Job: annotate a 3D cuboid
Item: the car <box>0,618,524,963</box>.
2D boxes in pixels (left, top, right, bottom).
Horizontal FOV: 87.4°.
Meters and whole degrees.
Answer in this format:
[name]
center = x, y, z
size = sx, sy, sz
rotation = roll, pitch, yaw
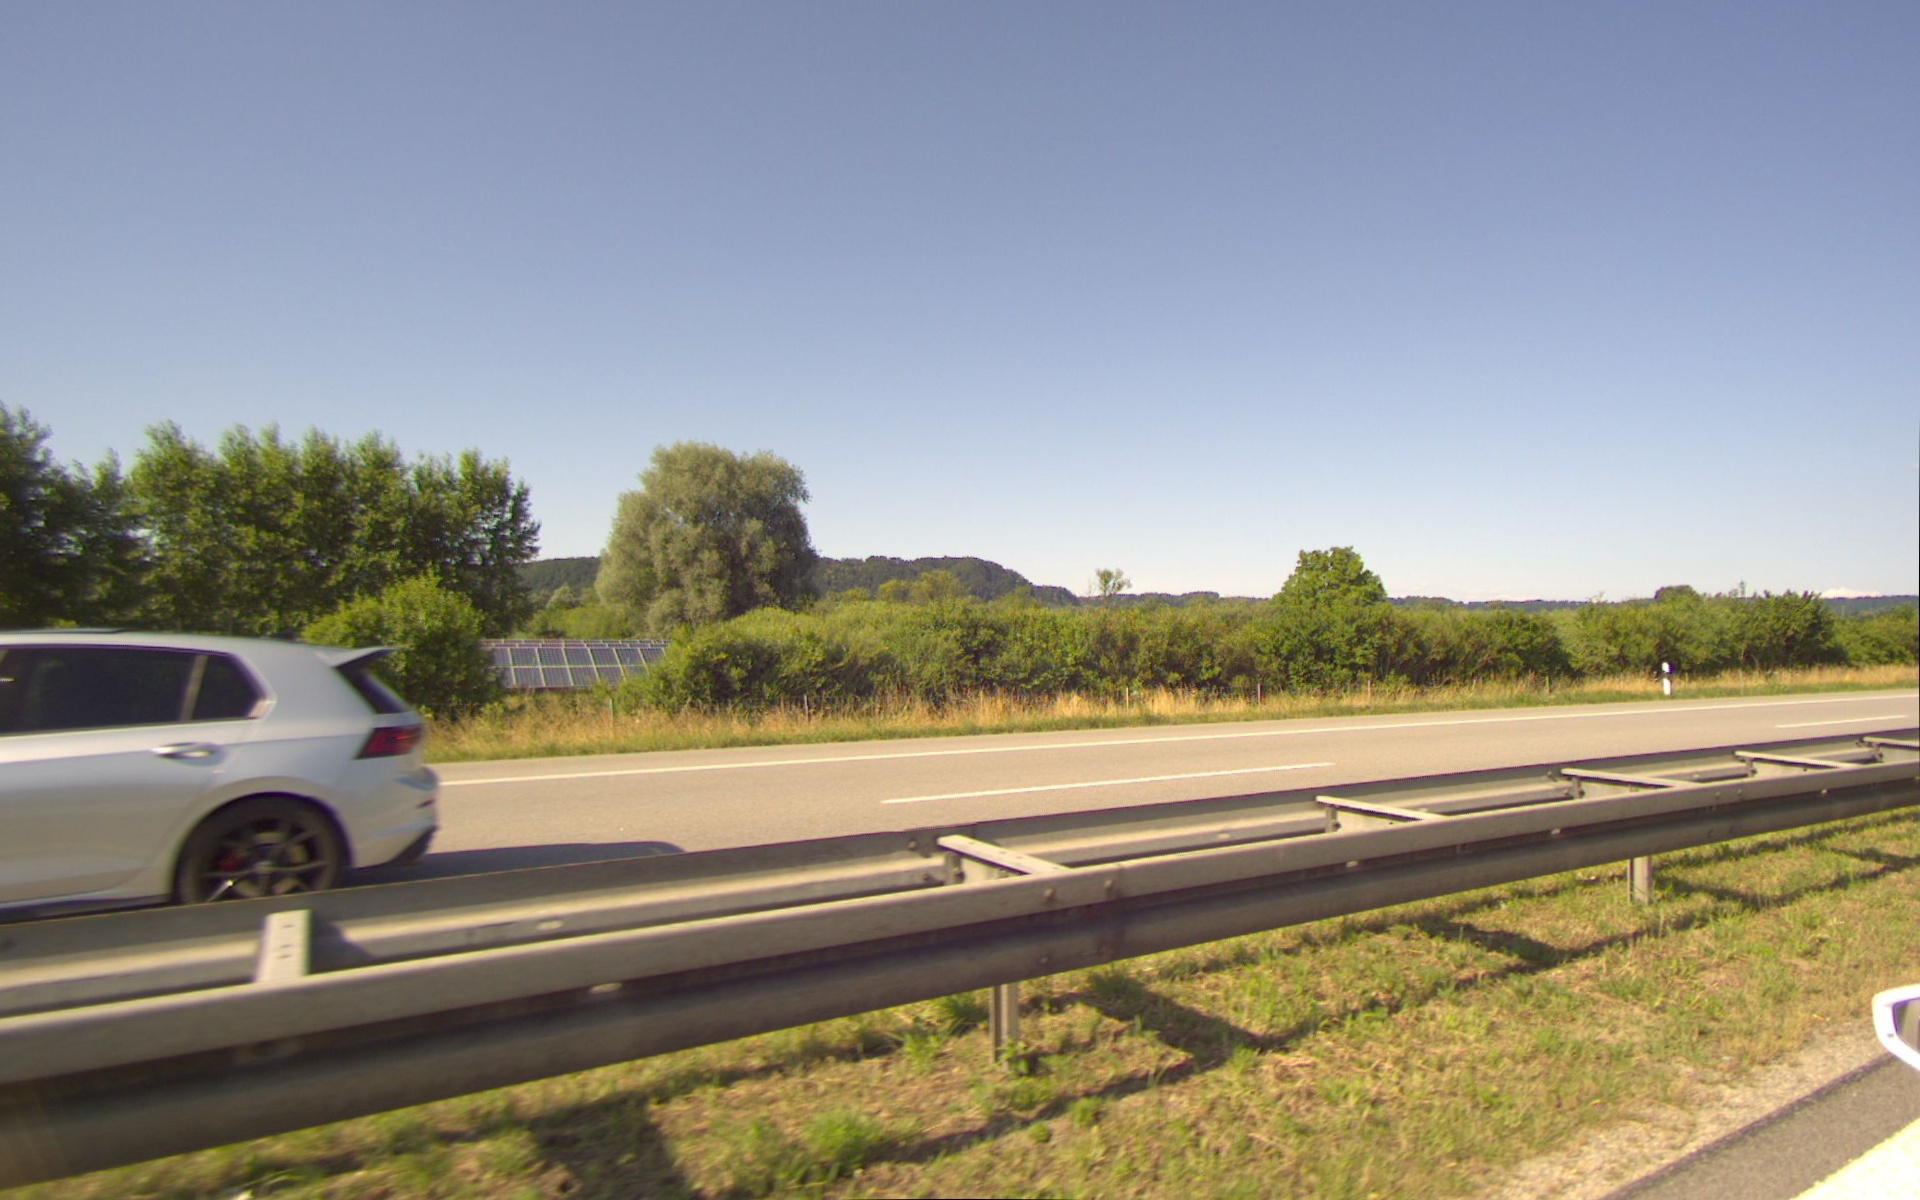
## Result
[car]
center = -4.607, 0.855, 4.898
size = 4.415, 1.438, 1.760
rotation = 2, -5, -29
